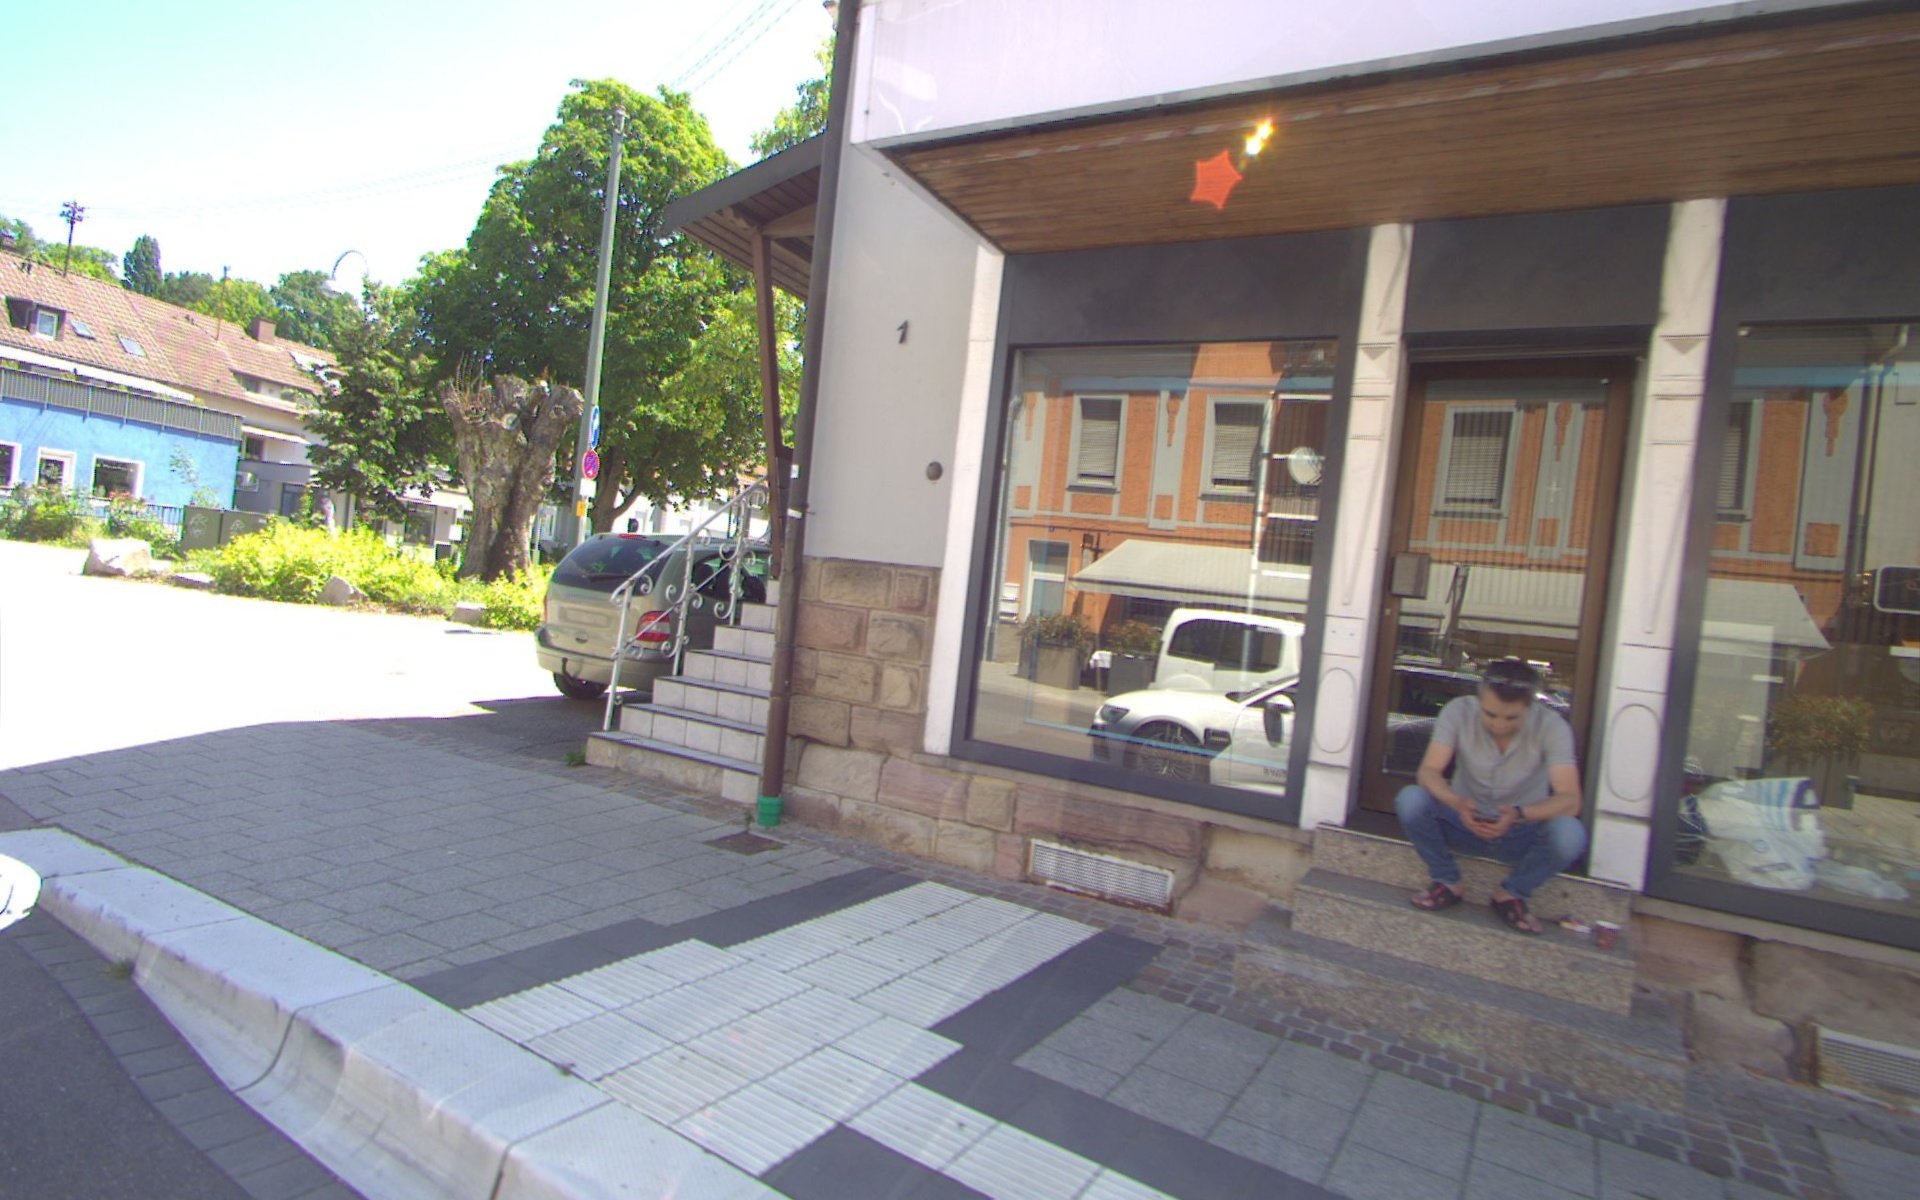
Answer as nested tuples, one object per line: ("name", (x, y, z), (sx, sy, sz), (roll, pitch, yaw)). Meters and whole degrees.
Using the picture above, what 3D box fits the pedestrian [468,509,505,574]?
("pedestrian", (-14.052, -1.749, 29.866), (0.733, 1.824, 0.672), (4, 4, -40))

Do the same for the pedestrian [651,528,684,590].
("pedestrian", (-8.238, -1.155, 28.358), (0.707, 1.653, 0.744), (6, 1, -15))

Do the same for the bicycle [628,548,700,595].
("bicycle", (-8.316, -0.799, 28.339), (1.821, 1.097, 0.744), (6, 1, -15))

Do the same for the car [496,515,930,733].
("car", (-2.195, 0.218, 10.036), (1.772, 1.616, 4.063), (6, 2, 31))

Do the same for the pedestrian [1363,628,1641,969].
("pedestrian", (1.927, 0.649, 3.622), (0.711, 1.013, 0.590), (7, 2, 29))
